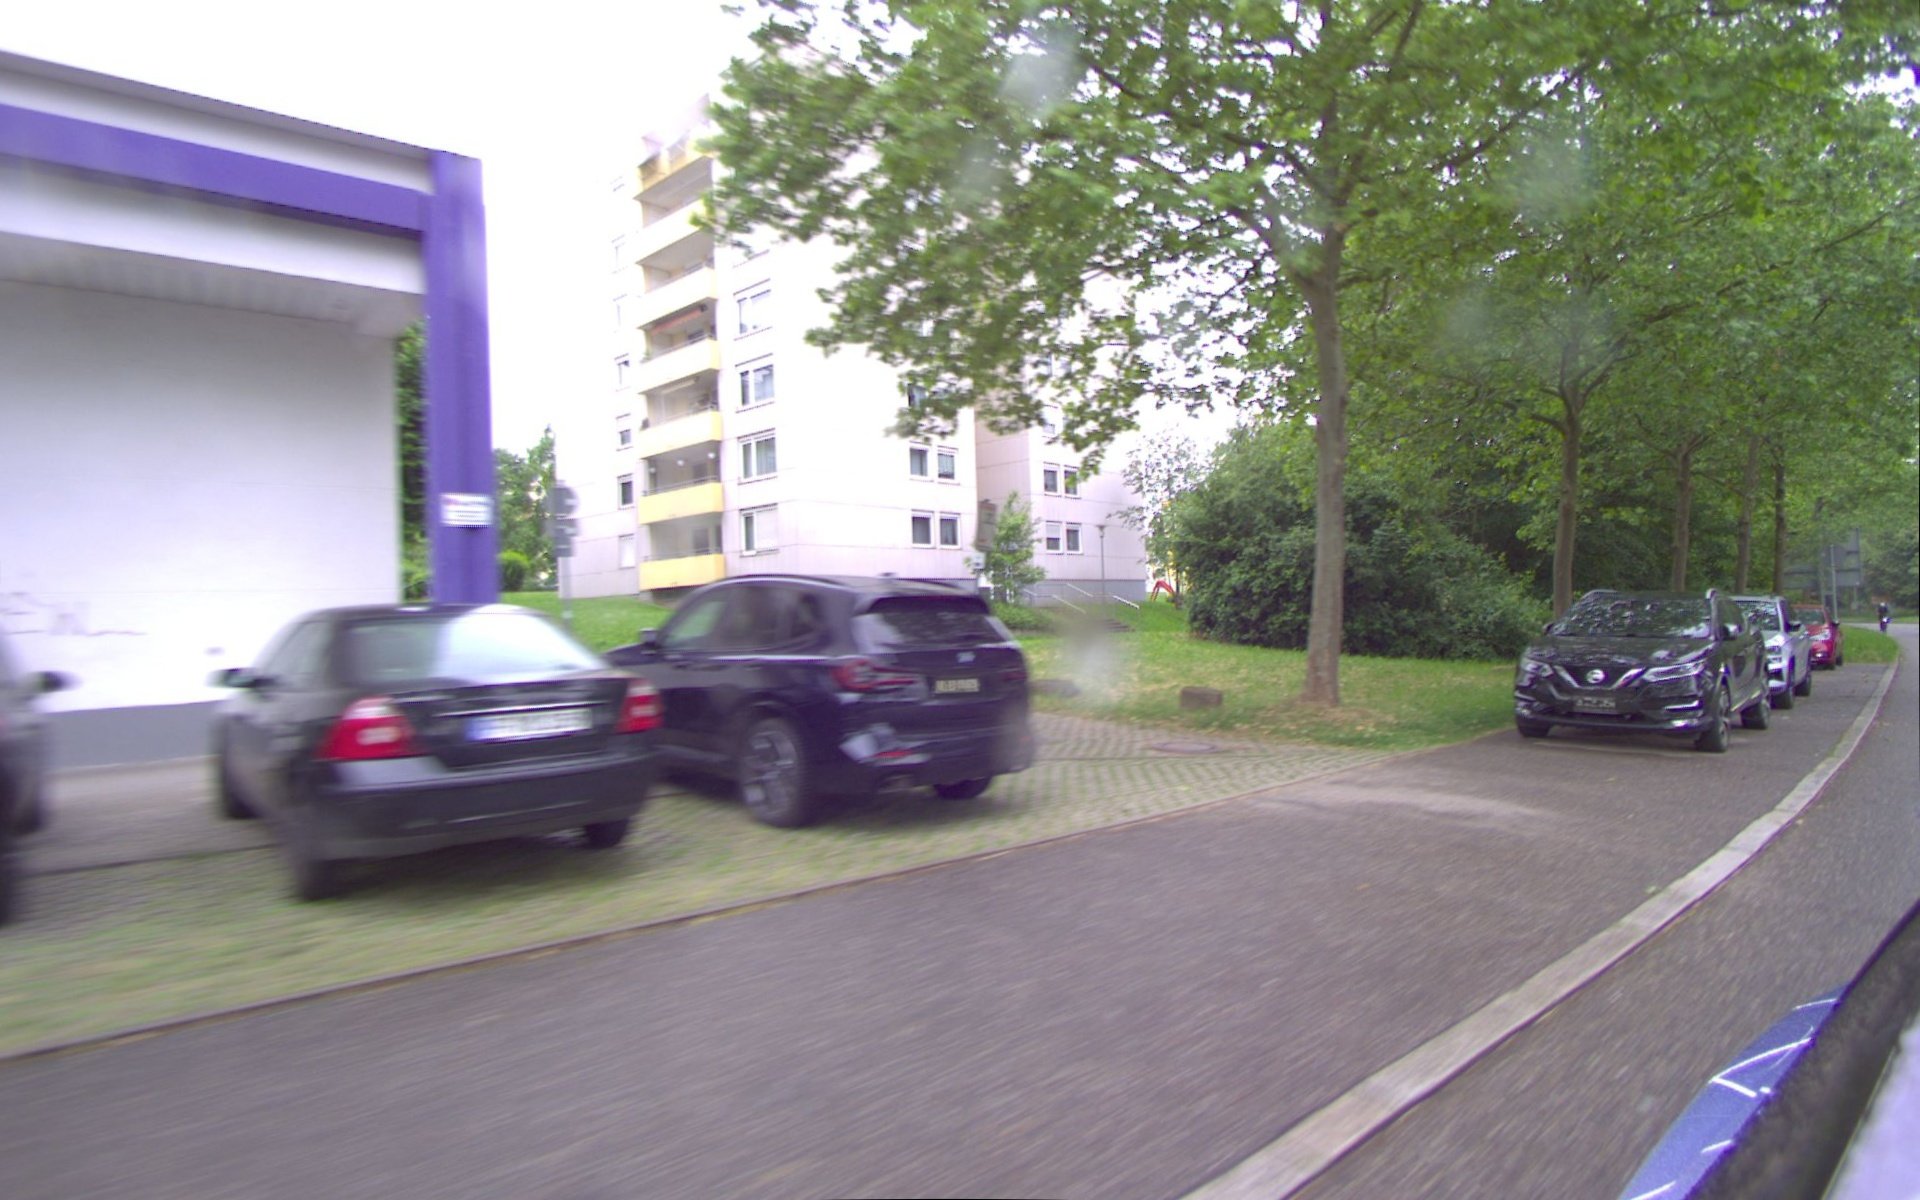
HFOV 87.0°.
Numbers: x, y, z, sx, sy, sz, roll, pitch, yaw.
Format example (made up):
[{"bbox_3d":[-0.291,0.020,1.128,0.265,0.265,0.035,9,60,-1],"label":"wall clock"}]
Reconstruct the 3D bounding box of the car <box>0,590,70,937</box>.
[{"bbox_3d":[-5.780,0.746,5.226,1.691,1.471,3.622,-1,-1,-40],"label":"car"}]

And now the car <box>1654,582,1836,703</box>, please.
[{"bbox_3d":[12.117,0.539,15.524,1.728,1.611,4.184,0,1,45],"label":"car"}]

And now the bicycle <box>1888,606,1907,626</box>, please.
[{"bbox_3d":[53.854,0.908,58.128,0.450,1.149,1.811,-4,-2,33],"label":"bicycle"}]

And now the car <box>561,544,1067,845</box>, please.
[{"bbox_3d":[-1.418,0.598,7.987,1.737,1.702,4.474,1,-2,-43],"label":"car"}]

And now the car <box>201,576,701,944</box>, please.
[{"bbox_3d":[-3.383,0.692,6.263,1.693,1.497,4.110,-2,0,-43],"label":"car"}]

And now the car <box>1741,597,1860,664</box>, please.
[{"bbox_3d":[19.457,0.639,23.383,1.798,1.389,3.684,0,0,45],"label":"car"}]

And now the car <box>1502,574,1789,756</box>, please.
[{"bbox_3d":[7.689,0.562,11.178,4.299,1.622,1.802,-1,0,-44],"label":"car"}]

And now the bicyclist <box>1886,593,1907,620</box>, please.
[{"bbox_3d":[53.814,0.364,58.167,0.693,1.517,0.790,-3,-2,34],"label":"bicyclist"}]
